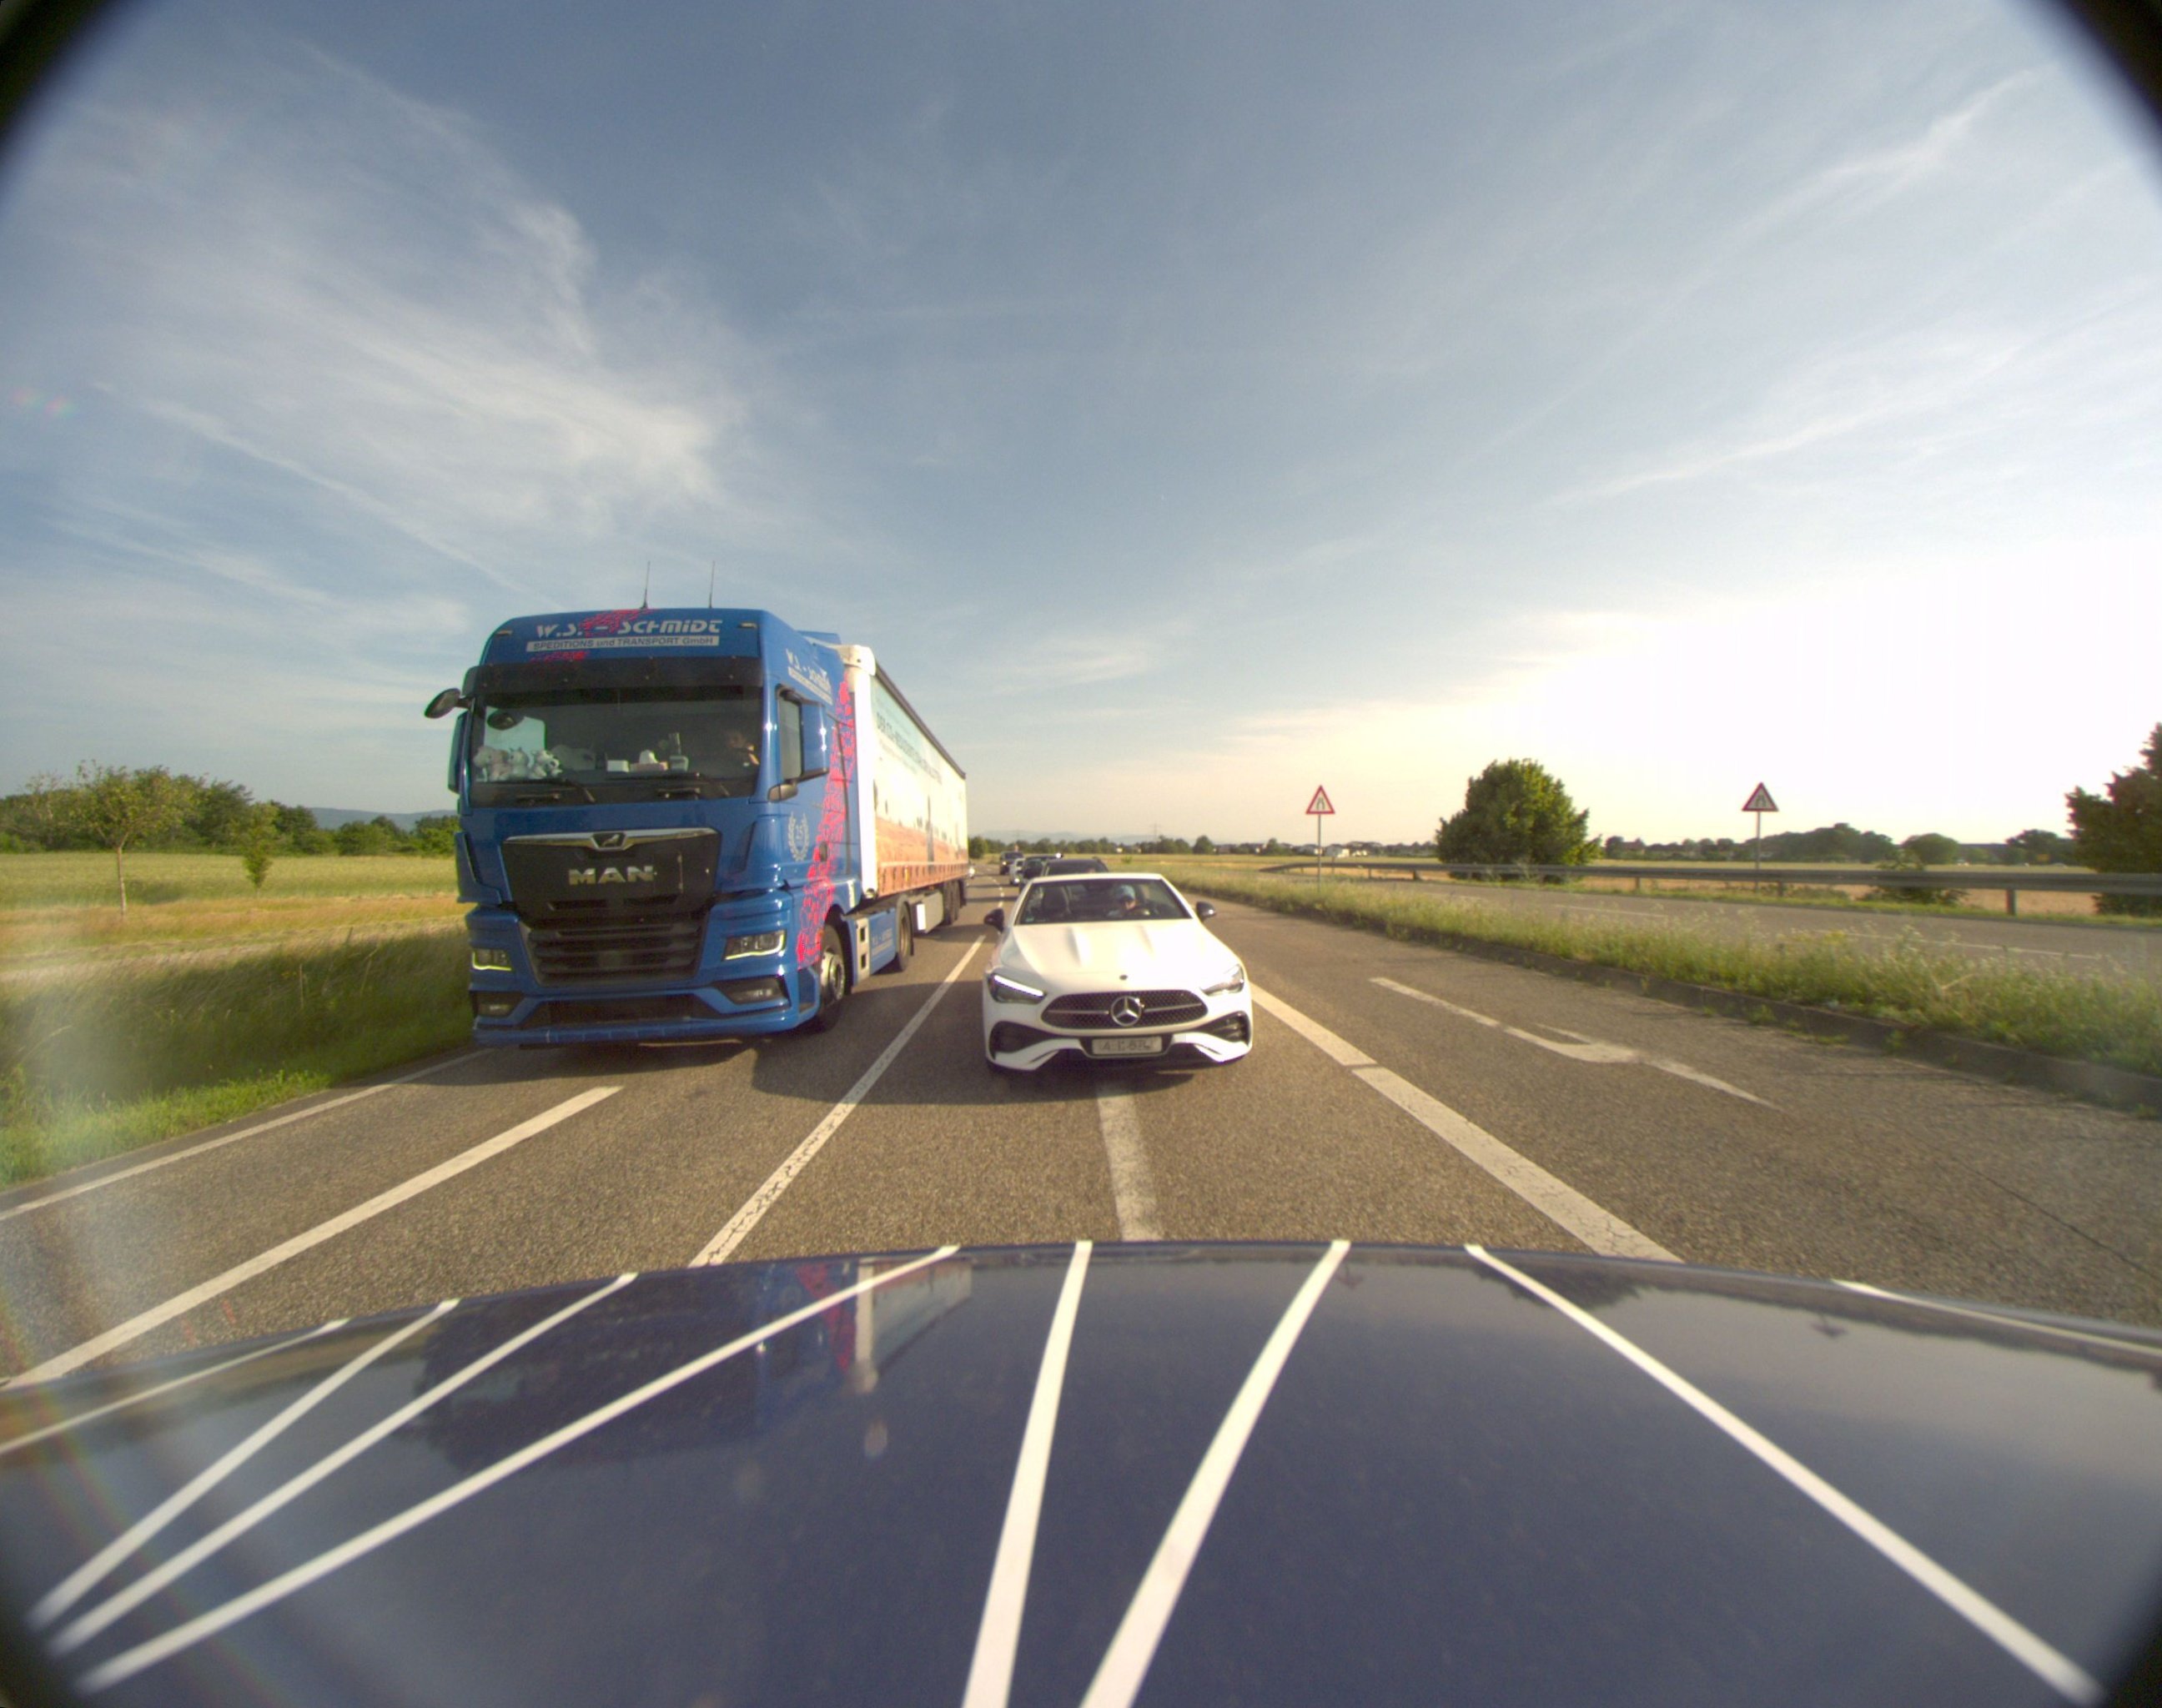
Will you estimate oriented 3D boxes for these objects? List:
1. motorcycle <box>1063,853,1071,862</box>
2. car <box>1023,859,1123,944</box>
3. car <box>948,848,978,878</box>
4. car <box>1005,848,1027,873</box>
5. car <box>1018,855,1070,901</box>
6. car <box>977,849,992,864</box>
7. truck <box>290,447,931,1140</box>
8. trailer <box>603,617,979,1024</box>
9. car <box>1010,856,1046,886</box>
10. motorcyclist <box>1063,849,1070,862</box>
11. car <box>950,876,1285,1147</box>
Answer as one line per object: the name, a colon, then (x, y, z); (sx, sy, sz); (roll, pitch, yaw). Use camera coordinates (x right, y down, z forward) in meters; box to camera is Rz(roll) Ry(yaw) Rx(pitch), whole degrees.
motorcycle: (-1.891, 0.495, 101.454); (0.940, 1.118, 2.169); (-2, 0, -5)
car: (-0.273, 0.889, 15.824); (1.586, 1.496, 3.658); (-1, 0, -8)
car: (-8.353, 0.595, 53.819); (2.000, 2.002, 3.997); (-1, 0, -8)
car: (-5.229, 0.512, 60.718); (1.558, 1.909, 4.032); (-1, 0, -8)
car: (-1.390, 0.818, 27.406); (1.558, 1.550, 3.046); (-1, 0, -8)
car: (-13.586, 0.363, 106.610); (2.000, 2.002, 3.997); (-1, 0, -8)
truck: (-3.711, -0.460, 8.058); (3.309, 4.631, 5.729); (-2, 1, -4)
trailer: (-4.216, -0.506, 15.419); (3.291, 4.654, 13.139); (-2, 1, -4)
car: (-2.810, 0.850, 39.761); (1.558, 1.392, 4.032); (-1, 0, -8)
motorcyclist: (-1.940, 0.181, 101.795); (0.906, 1.748, 0.831); (-2, 1, -6)
car: (0.167, 0.982, 6.452); (1.941, 1.389, 3.917); (-2, 1, -2)
